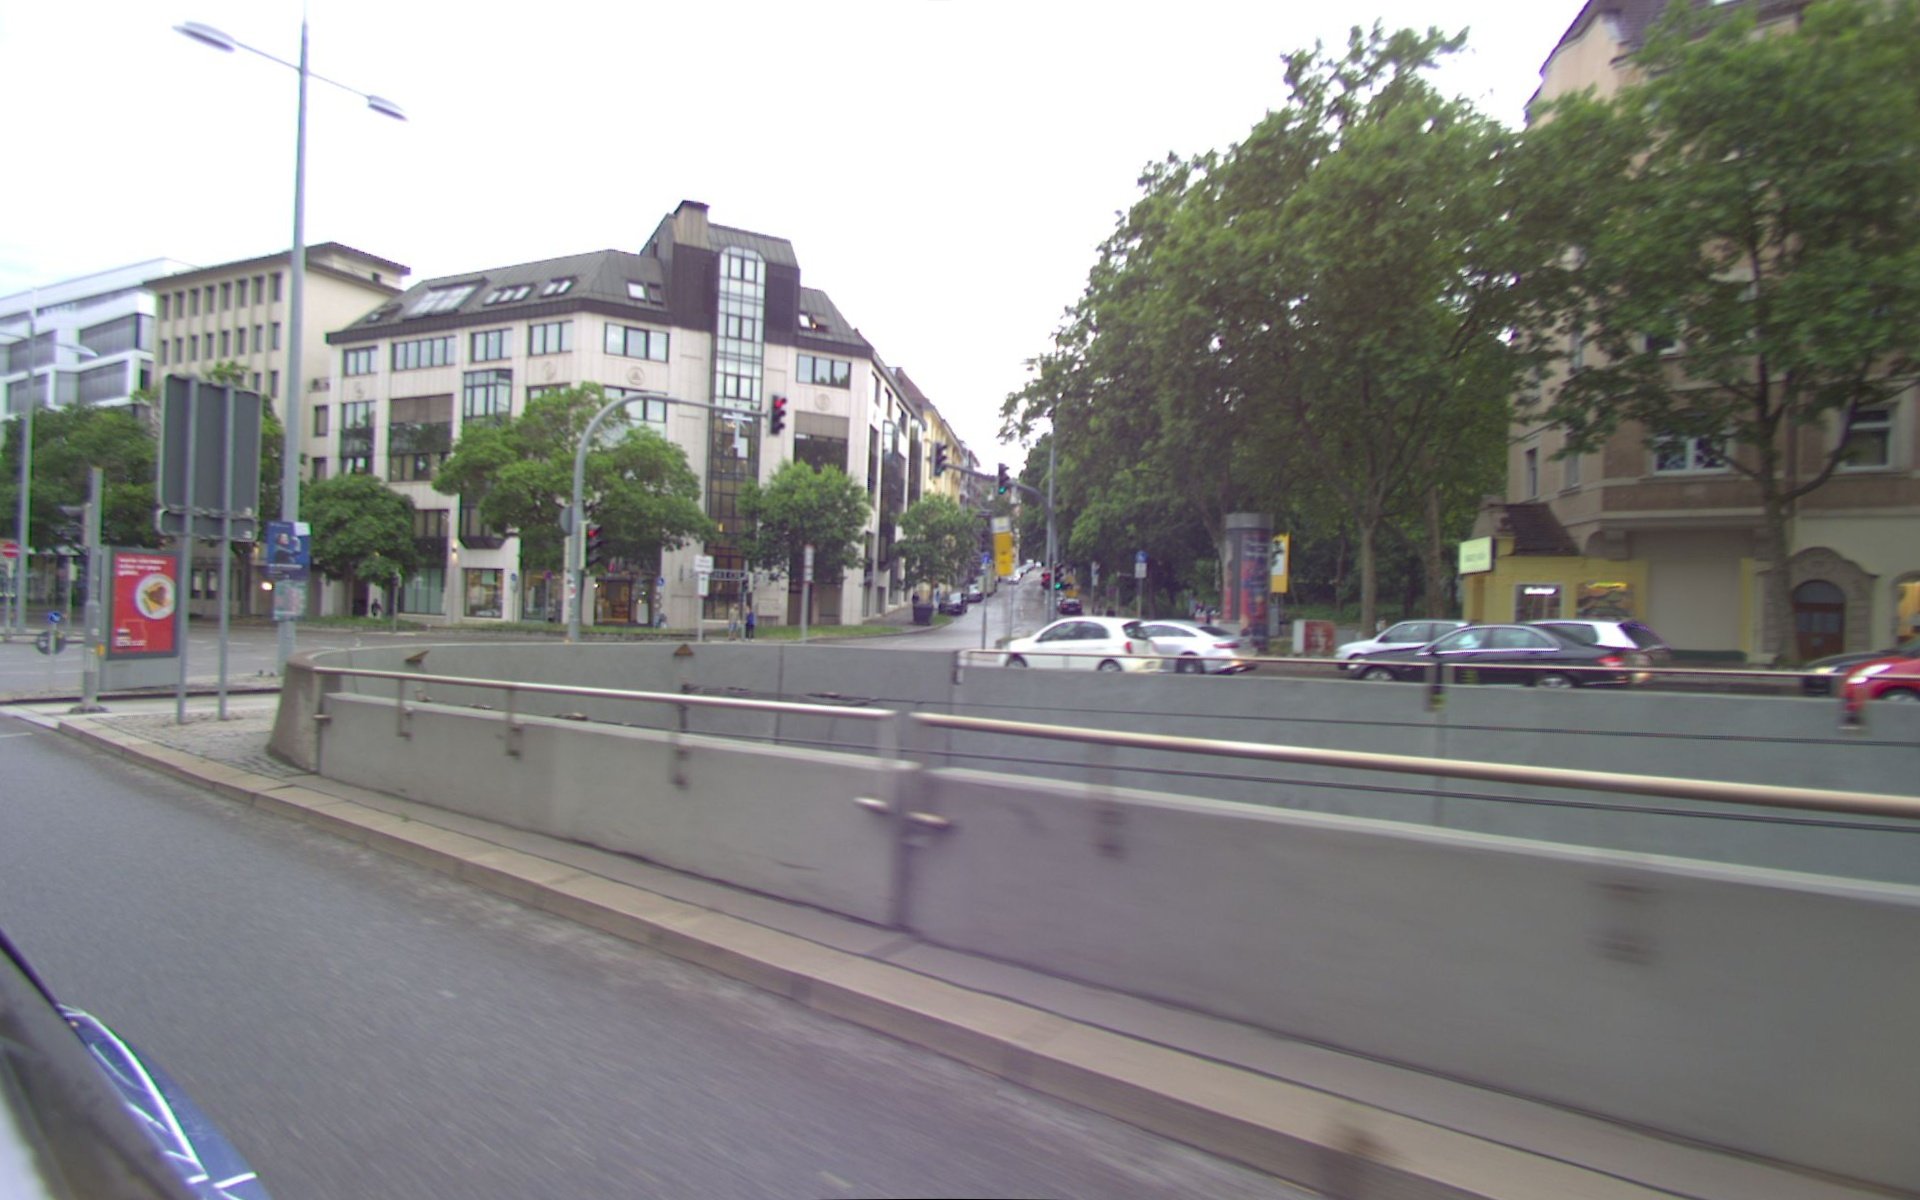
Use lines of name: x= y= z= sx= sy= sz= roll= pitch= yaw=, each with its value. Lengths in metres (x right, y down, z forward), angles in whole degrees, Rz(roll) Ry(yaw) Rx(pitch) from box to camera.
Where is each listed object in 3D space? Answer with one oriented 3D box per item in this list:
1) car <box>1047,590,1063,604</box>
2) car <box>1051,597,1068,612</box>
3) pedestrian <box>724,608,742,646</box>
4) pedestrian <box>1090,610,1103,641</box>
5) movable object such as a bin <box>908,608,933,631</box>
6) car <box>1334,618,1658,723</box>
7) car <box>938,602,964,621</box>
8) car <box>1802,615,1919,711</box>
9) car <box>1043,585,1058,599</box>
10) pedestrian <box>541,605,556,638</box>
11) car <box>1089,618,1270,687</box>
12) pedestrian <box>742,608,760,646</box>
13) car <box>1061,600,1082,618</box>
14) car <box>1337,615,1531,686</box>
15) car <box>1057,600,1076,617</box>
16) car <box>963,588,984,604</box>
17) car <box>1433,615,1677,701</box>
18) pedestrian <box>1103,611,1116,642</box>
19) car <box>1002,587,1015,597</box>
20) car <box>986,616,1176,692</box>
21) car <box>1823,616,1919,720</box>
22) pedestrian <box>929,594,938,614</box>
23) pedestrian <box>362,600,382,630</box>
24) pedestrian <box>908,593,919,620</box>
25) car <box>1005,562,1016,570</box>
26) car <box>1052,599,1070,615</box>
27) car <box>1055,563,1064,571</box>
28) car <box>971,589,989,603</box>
car: x=10.239 y=-0.361 z=109.454 sx=1.592 sy=1.473 sz=3.484 roll=0 pitch=0 yaw=8
car: x=9.838 y=0.427 z=100.215 sx=1.592 sy=1.473 sz=3.484 roll=0 pitch=0 yaw=8
pedestrian: x=-10.941 y=1.294 z=48.827 sx=0.582 sy=1.823 sz=0.675 roll=0 pitch=0 yaw=-44
pedestrian: x=8.274 y=1.540 z=61.288 sx=0.623 sy=1.823 sz=0.675 roll=0 pitch=0 yaw=-8
movable object such as a bin: x=-2.600 y=1.264 z=66.829 sx=1.332 sy=1.519 sz=1.073 roll=0 pitch=-1 yaw=-22
car: x=9.297 y=1.126 z=17.788 sx=4.828 sy=1.569 sz=1.777 roll=0 pitch=-1 yaw=38
car: x=-0.702 y=0.908 z=80.095 sx=1.592 sy=1.473 sz=3.484 roll=0 pitch=0 yaw=8
car: x=16.295 y=0.996 z=16.374 sx=3.994 sy=1.522 sz=1.777 roll=-1 pitch=-1 yaw=37
car: x=10.342 y=-0.897 z=115.452 sx=1.592 sy=1.473 sz=3.484 roll=0 pitch=0 yaw=8
pedestrian: x=-22.458 y=1.167 z=55.256 sx=0.524 sy=1.798 sz=0.598 roll=0 pitch=0 yaw=32
car: x=5.318 y=1.223 z=24.805 sx=3.997 sy=1.522 sz=1.776 roll=0 pitch=-1 yaw=40
pedestrian: x=-10.165 y=1.287 z=49.253 sx=0.582 sy=1.823 sz=0.675 roll=0 pitch=0 yaw=-44
car: x=9.170 y=0.733 z=83.105 sx=1.592 sy=1.473 sz=3.484 roll=0 pitch=0 yaw=8
car: x=11.273 y=1.138 z=24.171 sx=3.936 sy=1.522 sz=1.777 roll=0 pitch=0 yaw=38
car: x=9.403 y=0.710 z=89.026 sx=1.592 sy=1.473 sz=3.484 roll=0 pitch=0 yaw=8
car: x=1.294 y=-0.368 z=96.441 sx=1.777 sy=1.522 sz=3.996 roll=0 pitch=0 yaw=4
car: x=11.697 y=1.063 z=20.002 sx=3.994 sy=1.522 sz=1.777 roll=0 pitch=-1 yaw=38
pedestrian: x=9.052 y=1.611 z=61.349 sx=0.623 sy=1.823 sz=0.675 roll=0 pitch=0 yaw=-8
car: x=7.082 y=-1.156 z=148.244 sx=1.777 sy=1.522 sz=3.996 roll=0 pitch=0 yaw=4
car: x=2.739 y=1.176 z=23.260 sx=3.993 sy=1.573 sz=1.778 roll=0 pitch=-1 yaw=37
car: x=14.349 y=0.941 z=13.807 sx=3.877 sy=1.411 sz=1.568 roll=0 pitch=-1 yaw=40
pedestrian: x=-2.198 y=0.308 z=84.081 sx=0.643 sy=1.674 sz=0.647 roll=0 pitch=0 yaw=13
pedestrian: x=-35.381 y=0.875 z=60.877 sx=0.614 sy=1.798 sz=0.826 roll=0 pitch=0 yaw=32
pedestrian: x=-3.504 y=0.494 z=76.799 sx=0.746 sy=2.029 sz=0.746 roll=0 pitch=-1 yaw=4
car: x=10.808 y=-7.166 z=215.636 sx=1.781 sy=1.522 sz=3.986 roll=0 pitch=0 yaw=11
car: x=9.571 y=0.683 z=96.117 sx=1.592 sy=1.473 sz=3.484 roll=0 pitch=0 yaw=8
car: x=21.117 y=-6.926 z=214.914 sx=1.777 sy=1.522 sz=3.995 roll=0 pitch=0 yaw=4
car: x=2.181 y=-0.418 z=108.438 sx=1.777 sy=1.522 sz=3.996 roll=0 pitch=0 yaw=4
